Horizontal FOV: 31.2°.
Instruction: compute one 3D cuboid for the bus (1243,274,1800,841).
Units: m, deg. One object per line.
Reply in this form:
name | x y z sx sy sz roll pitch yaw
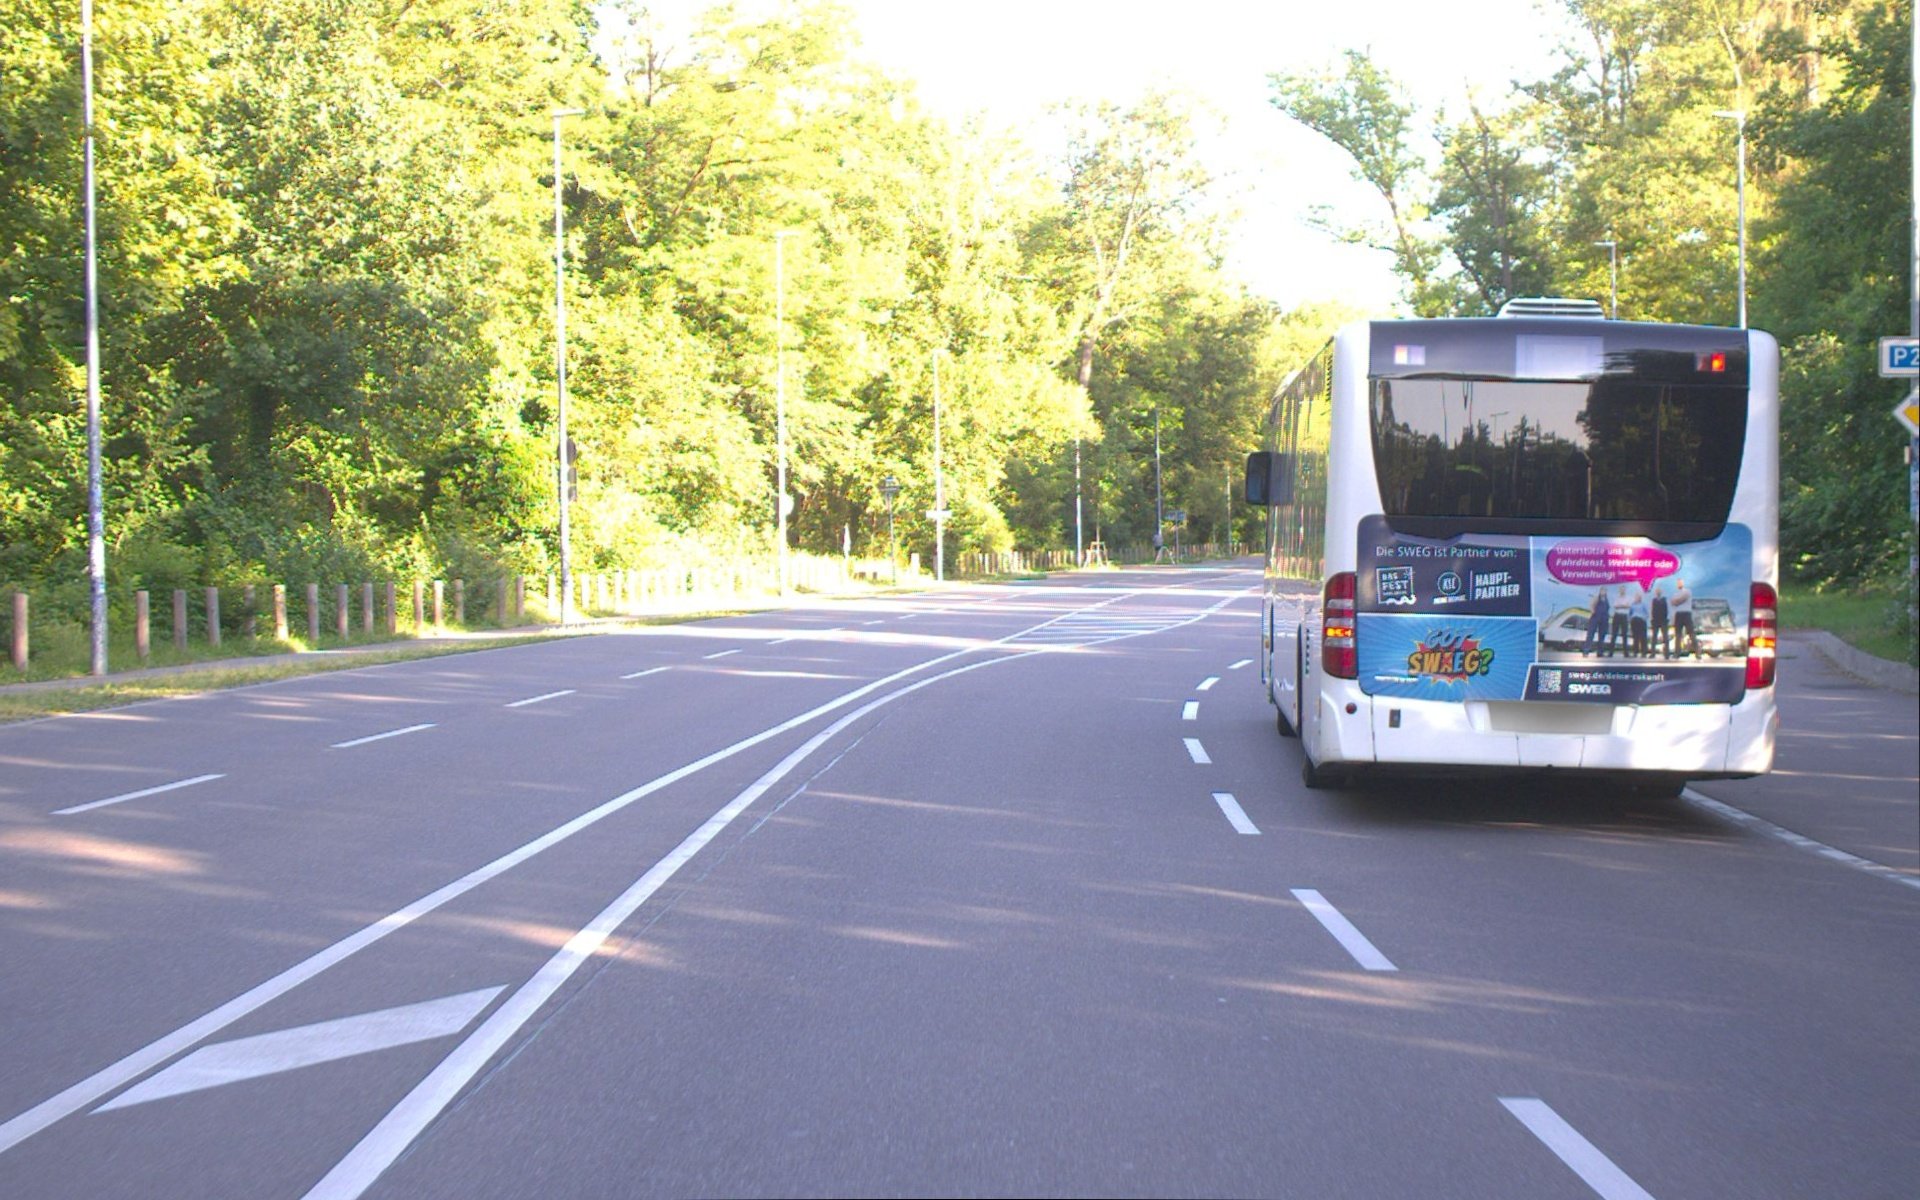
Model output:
bus | 3.539 -0.305 24.692 2.690 3.032 12.040 1 1 3
